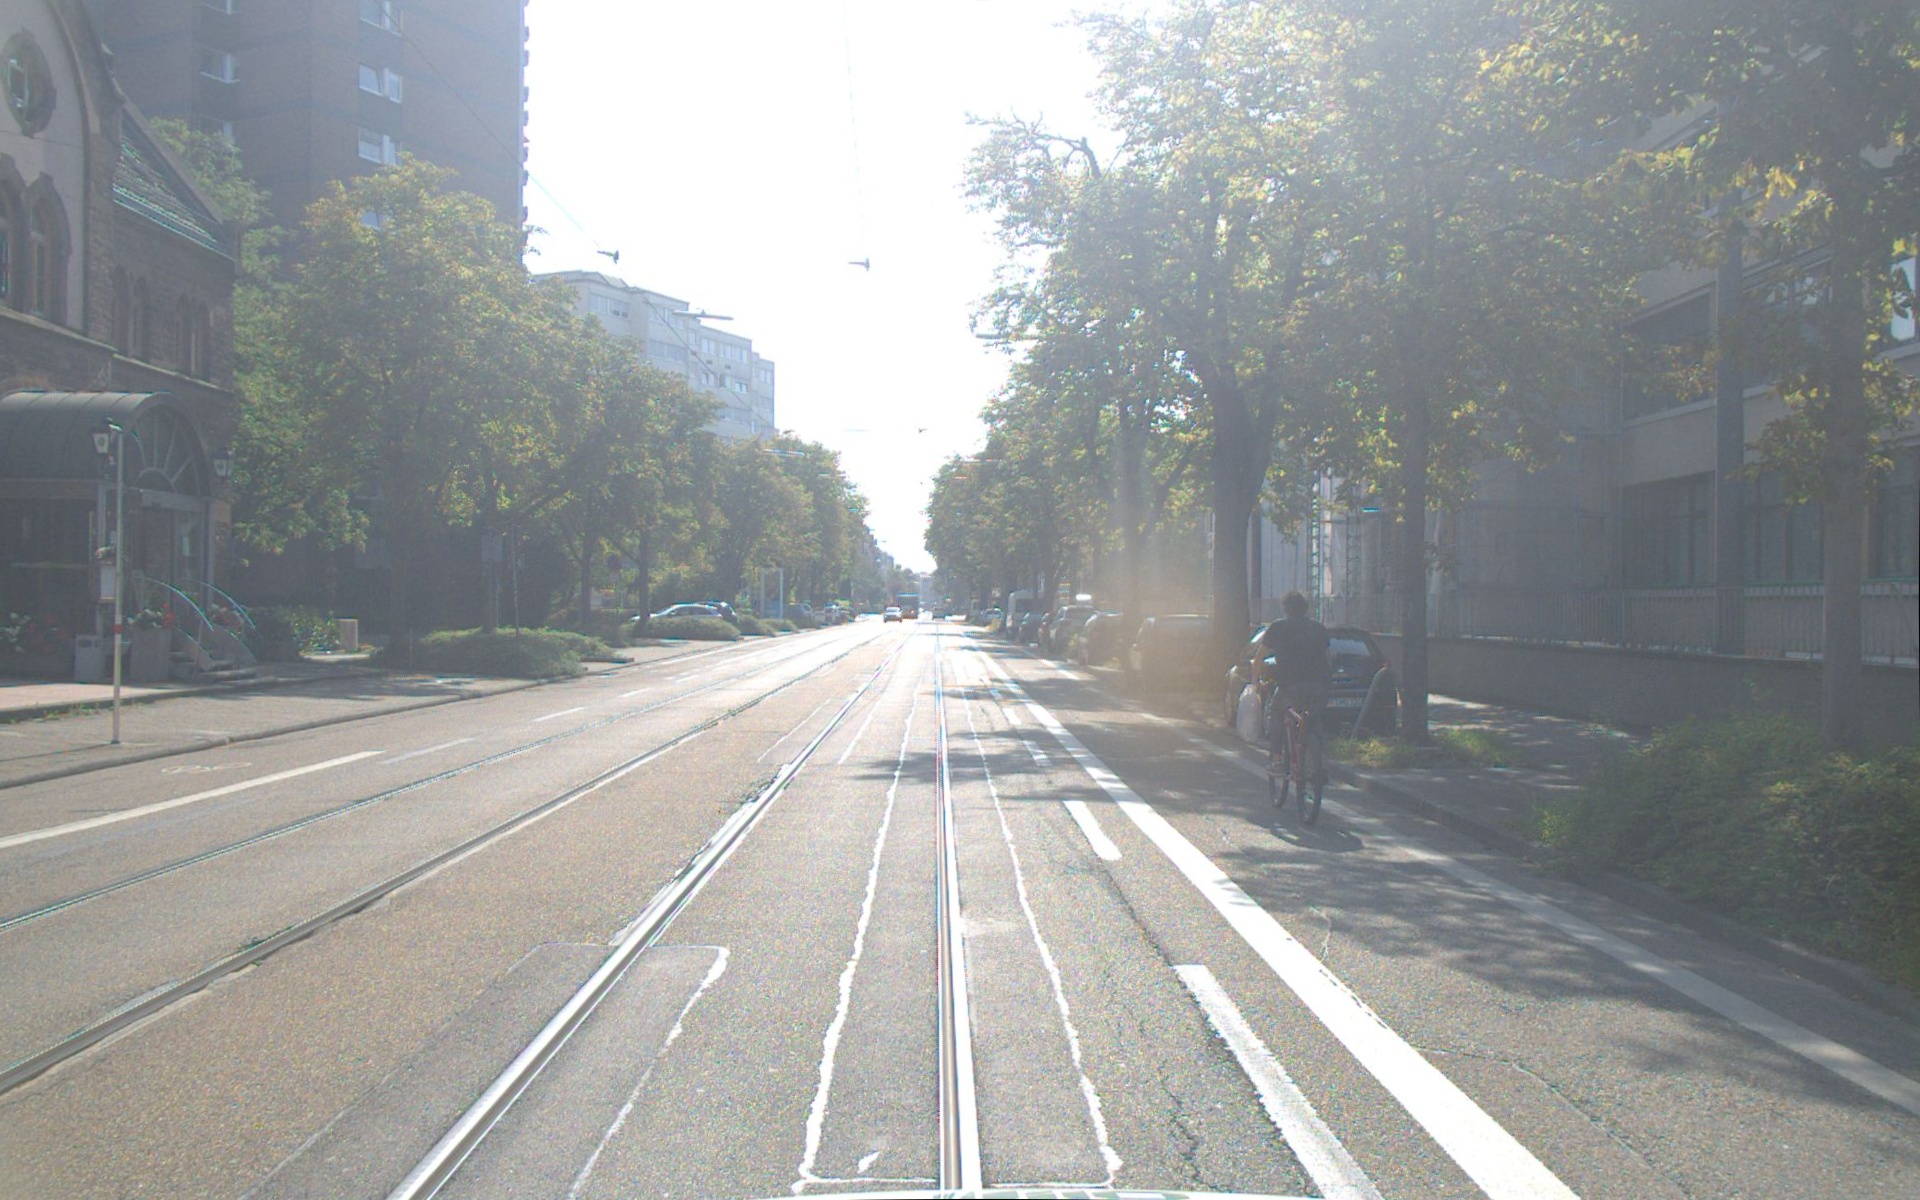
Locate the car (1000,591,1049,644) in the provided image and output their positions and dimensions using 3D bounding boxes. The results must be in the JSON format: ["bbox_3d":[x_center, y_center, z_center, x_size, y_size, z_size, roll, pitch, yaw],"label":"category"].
[{"bbox_3d":[3.414,0.930,88.192,2.041,2.597,5.499,-3,0,-2],"label":"car"}]

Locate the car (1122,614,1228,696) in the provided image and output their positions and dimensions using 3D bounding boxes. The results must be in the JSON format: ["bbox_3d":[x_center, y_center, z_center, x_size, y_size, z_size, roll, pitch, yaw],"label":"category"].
[{"bbox_3d":[4.359,1.091,33.987,1.612,1.537,3.777,-1,0,-1],"label":"car"}]

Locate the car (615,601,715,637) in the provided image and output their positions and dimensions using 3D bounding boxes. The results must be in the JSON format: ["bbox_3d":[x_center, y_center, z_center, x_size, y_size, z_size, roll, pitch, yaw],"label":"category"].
[{"bbox_3d":[-12.781,0.826,71.732,3.946,1.505,1.771,1,0,-31],"label":"car"}]

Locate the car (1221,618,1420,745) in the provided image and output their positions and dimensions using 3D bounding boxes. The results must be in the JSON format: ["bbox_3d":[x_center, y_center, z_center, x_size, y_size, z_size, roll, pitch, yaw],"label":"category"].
[{"bbox_3d":[4.668,1.005,21.971,1.613,1.453,4.083,-1,0,-2],"label":"car"}]

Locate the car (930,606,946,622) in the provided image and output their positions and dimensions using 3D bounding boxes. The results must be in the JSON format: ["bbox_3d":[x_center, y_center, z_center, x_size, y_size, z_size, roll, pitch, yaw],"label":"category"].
[{"bbox_3d":[-2.752,1.735,206.249,1.952,1.870,4.000,0,0,0],"label":"car"}]

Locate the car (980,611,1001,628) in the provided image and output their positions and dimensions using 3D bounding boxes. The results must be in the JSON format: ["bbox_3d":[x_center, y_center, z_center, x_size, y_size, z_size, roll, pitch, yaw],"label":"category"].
[{"bbox_3d":[2.570,1.660,140.565,1.655,1.443,3.634,0,0,0],"label":"car"}]

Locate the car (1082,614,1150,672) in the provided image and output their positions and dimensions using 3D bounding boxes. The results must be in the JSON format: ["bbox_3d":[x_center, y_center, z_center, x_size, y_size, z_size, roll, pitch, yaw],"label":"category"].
[{"bbox_3d":[4.365,1.173,46.699,1.544,1.511,3.738,-1,0,0],"label":"car"}]

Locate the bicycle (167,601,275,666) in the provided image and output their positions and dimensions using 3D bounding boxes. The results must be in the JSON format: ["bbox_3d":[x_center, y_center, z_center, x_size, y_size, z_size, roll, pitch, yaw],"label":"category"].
[{"bbox_3d":[-13.970,0.634,31.305,1.778,1.093,0.418,5,-2,-24],"label":"bicycle"}]

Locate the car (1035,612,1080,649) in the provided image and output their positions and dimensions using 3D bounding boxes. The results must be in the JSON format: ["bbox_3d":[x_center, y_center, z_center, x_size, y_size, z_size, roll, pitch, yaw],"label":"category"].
[{"bbox_3d":[3.965,1.235,67.671,1.583,1.438,3.999,0,0,-1],"label":"car"}]

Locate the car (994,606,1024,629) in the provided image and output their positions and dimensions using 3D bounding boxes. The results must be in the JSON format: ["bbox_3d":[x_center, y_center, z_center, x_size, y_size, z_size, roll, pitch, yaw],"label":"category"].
[{"bbox_3d":[3.151,1.134,107.256,1.718,1.402,4.718,-1,0,-1],"label":"car"}]

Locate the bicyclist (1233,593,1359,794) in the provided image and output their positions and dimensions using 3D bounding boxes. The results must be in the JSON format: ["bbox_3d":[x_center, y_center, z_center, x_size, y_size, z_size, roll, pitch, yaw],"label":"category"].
[{"bbox_3d":[2.609,0.703,12.930,0.770,1.495,1.116,0,-1,1],"label":"bicyclist"}]

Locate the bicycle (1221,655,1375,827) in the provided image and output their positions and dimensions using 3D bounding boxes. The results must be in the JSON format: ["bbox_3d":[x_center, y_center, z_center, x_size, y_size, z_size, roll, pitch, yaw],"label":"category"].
[{"bbox_3d":[2.603,1.049,12.995,0.770,1.164,2.305,0,0,1],"label":"bicycle"}]

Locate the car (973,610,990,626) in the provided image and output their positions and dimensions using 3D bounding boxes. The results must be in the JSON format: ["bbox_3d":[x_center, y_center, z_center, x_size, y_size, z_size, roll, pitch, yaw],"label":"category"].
[{"bbox_3d":[1.967,1.676,154.455,1.562,1.443,3.634,0,0,0],"label":"car"}]

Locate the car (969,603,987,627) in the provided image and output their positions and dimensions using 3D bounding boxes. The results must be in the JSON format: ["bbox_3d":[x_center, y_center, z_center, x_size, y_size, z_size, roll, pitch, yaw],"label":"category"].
[{"bbox_3d":[1.985,1.636,182.583,1.963,2.534,4.476,0,-2,0],"label":"car"}]

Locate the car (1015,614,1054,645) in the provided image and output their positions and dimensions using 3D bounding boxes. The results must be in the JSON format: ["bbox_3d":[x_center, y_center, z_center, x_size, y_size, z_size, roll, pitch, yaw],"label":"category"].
[{"bbox_3d":[3.475,1.374,77.945,1.583,1.398,4.826,0,0,0],"label":"car"}]

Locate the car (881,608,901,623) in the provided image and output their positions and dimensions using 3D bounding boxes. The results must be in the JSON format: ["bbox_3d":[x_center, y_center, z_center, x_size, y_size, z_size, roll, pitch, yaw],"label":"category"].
[{"bbox_3d":[-6.686,1.470,160.703,1.791,1.400,4.511,0,0,-2],"label":"car"}]

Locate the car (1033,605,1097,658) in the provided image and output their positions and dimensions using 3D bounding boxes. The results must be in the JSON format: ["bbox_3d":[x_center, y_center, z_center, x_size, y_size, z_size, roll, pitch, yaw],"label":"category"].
[{"bbox_3d":[3.575,1.054,57.045,1.718,1.721,4.394,1,0,-3],"label":"car"}]

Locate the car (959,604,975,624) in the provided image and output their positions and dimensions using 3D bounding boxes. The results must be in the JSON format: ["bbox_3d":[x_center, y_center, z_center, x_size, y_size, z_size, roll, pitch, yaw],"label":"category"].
[{"bbox_3d":[0.914,1.769,208.980,1.963,2.518,4.476,0,-1,0],"label":"car"}]

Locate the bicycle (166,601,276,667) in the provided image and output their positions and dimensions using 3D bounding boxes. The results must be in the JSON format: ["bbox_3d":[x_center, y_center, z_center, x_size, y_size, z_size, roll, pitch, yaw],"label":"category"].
[{"bbox_3d":[-13.773,0.633,30.881,1.778,1.093,0.418,5,-2,-24],"label":"bicycle"}]

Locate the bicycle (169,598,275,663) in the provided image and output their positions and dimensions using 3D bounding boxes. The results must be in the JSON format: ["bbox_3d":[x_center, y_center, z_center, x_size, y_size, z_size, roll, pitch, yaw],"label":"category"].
[{"bbox_3d":[-14.142,0.593,31.735,1.778,1.093,0.418,5,-2,-24],"label":"bicycle"}]

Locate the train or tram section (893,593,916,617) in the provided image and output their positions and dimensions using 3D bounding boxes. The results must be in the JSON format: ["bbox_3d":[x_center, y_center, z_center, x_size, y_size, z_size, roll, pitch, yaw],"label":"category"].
[{"bbox_3d":[-7.229,0.685,216.178,2.673,2.945,15.451,0,-1,-1],"label":"train or tram section"}]
